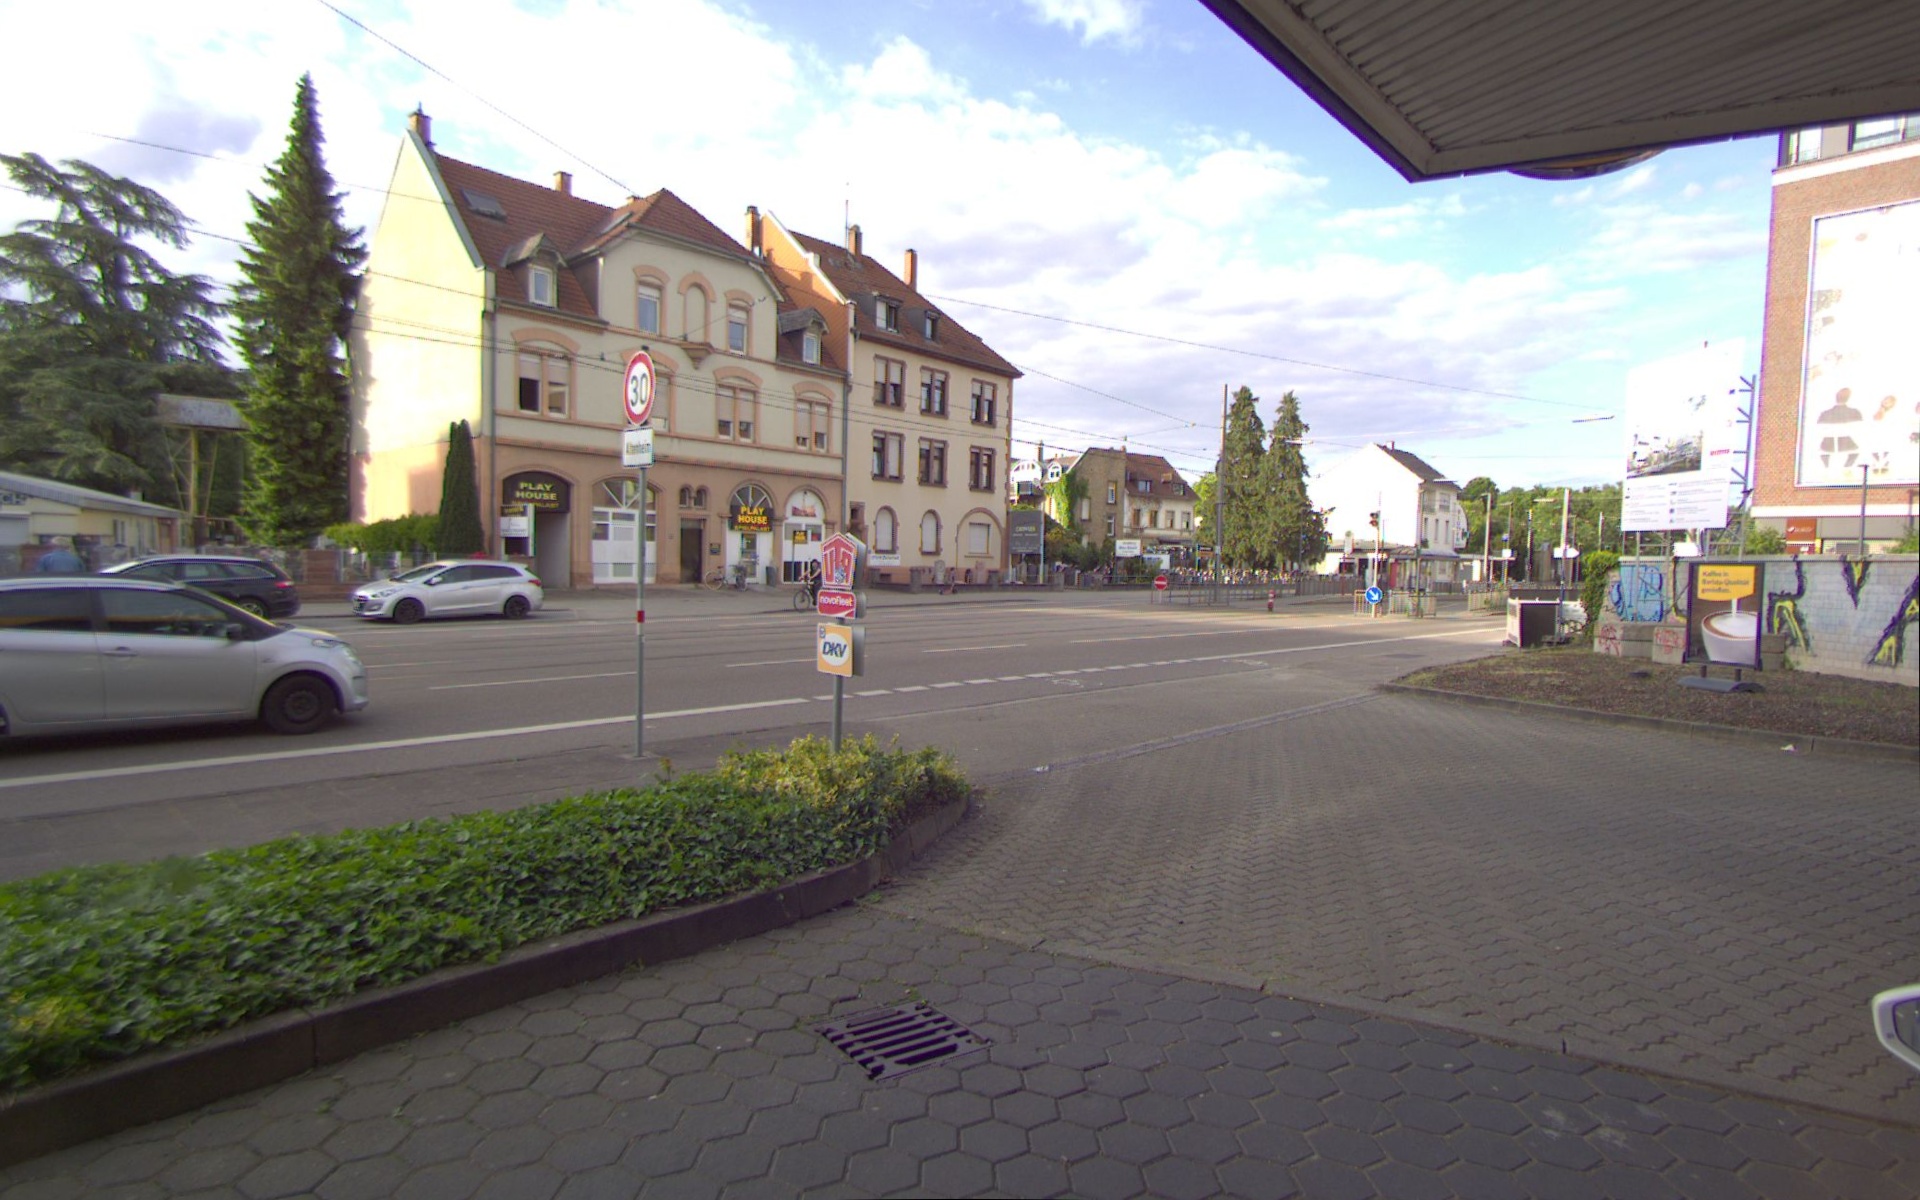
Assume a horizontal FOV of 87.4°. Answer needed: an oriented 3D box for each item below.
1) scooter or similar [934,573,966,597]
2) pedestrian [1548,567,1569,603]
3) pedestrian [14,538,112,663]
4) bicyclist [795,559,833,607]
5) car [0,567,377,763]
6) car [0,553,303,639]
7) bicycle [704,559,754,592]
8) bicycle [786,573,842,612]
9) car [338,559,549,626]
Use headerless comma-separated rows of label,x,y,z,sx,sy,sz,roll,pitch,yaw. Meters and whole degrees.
scooter or similar,-0.438,-0.664,45.111,0.461,1.041,1.655,4,3,40
pedestrian,34.099,-0.842,57.205,0.797,2.040,0.845,2,0,44
pedestrian,-12.722,-0.019,14.283,0.996,1.690,0.959,0,3,-40
bicyclist,-4.740,-0.553,32.737,0.669,1.555,1.081,1,2,36
car,-7.431,0.479,9.090,1.666,1.452,3.408,5,4,42
car,-16.603,-0.143,20.735,1.983,1.520,4.755,4,4,39
bicycle,-9.109,-0.957,39.610,0.665,1.229,1.862,4,2,41
bicycle,-4.752,-0.259,32.746,0.669,1.239,1.912,1,2,35
car,-12.923,-0.238,25.356,1.699,1.503,4.434,4,4,40
